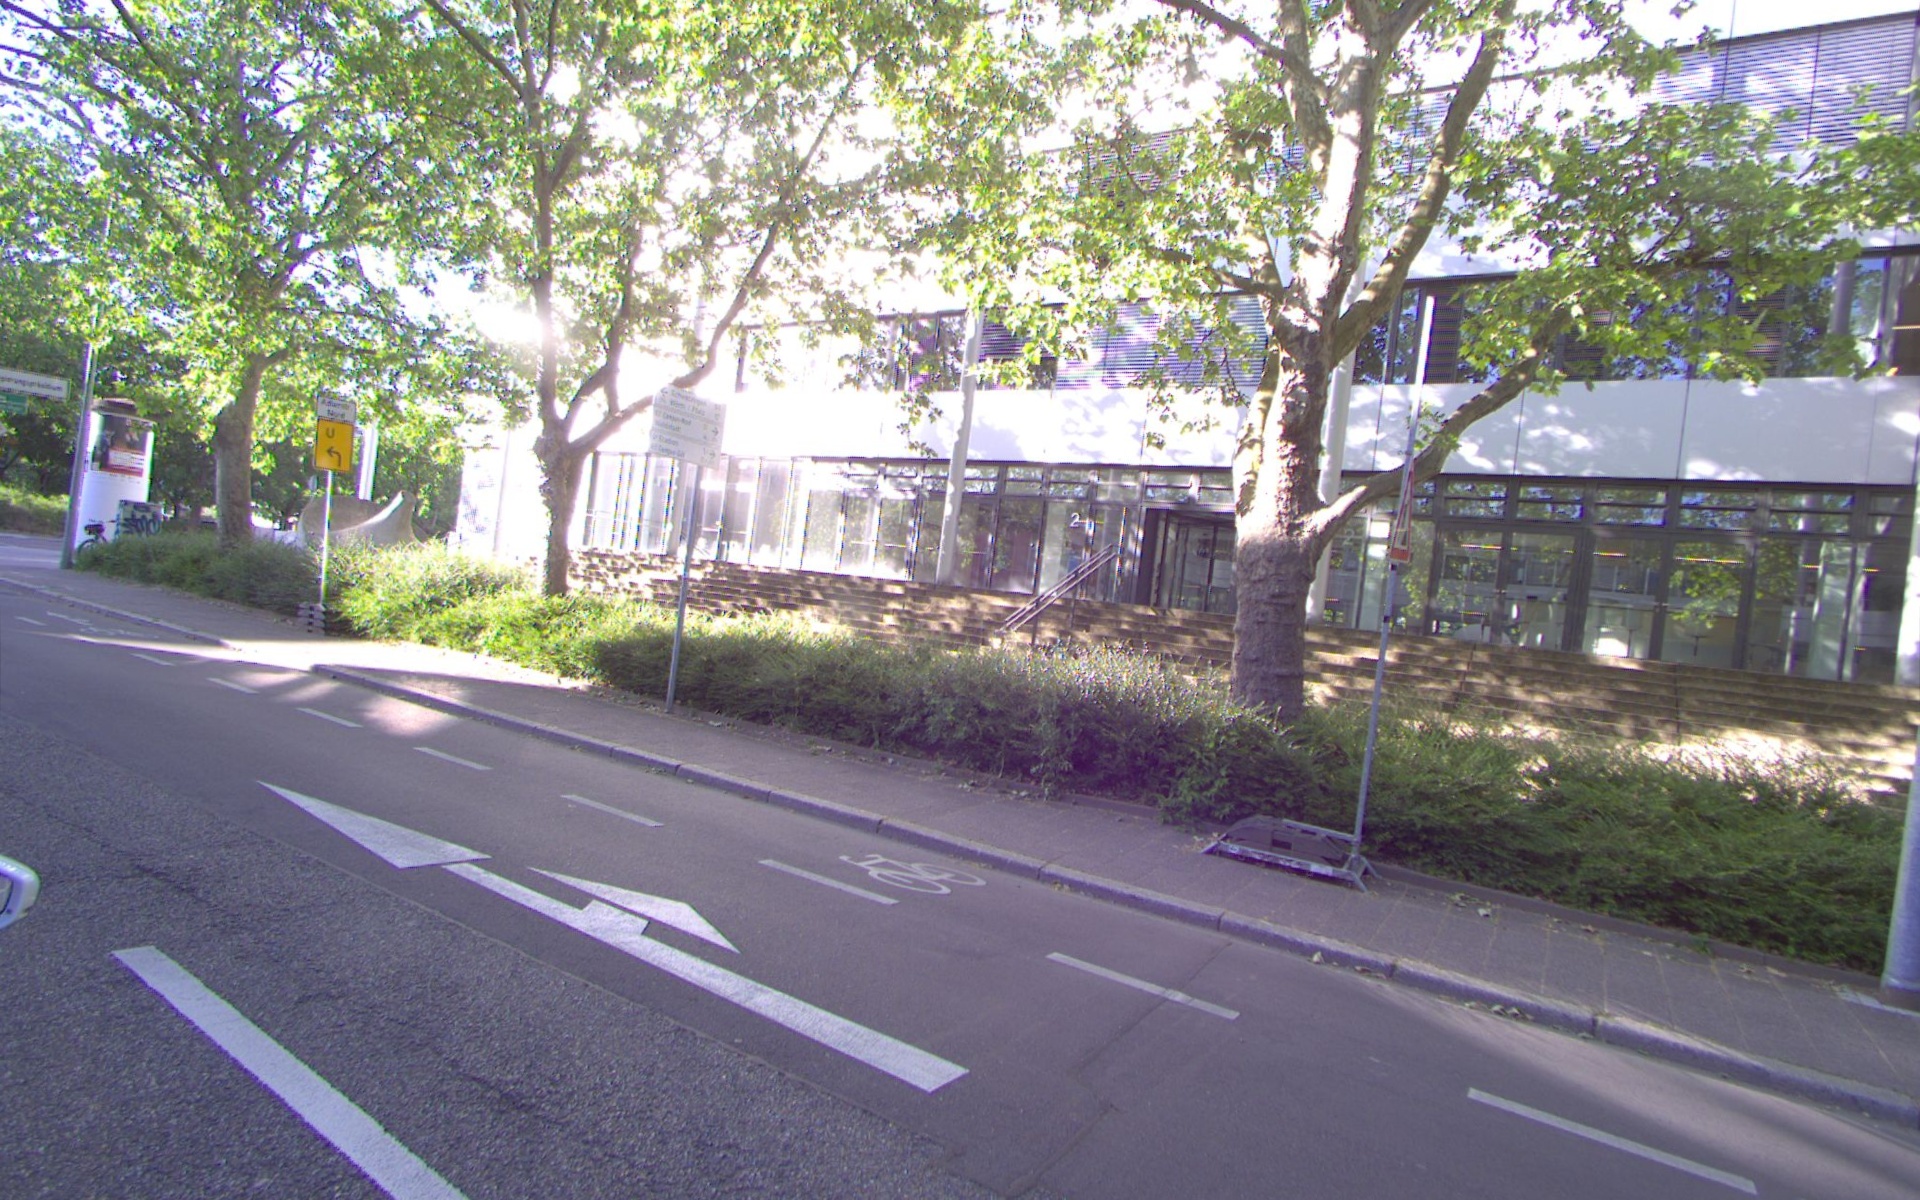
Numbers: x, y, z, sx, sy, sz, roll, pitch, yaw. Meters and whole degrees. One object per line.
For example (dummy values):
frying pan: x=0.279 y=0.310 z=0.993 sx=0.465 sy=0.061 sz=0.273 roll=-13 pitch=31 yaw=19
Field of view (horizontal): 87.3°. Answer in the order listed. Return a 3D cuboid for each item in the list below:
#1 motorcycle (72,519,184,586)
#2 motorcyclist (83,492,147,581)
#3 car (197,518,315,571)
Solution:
motorcycle: x=-19.220 y=-1.092 z=23.283 sx=0.712 sy=1.257 sz=1.782 roll=6 pitch=-2 yaw=37
motorcyclist: x=-19.347 y=-1.446 z=23.035 sx=0.662 sy=1.885 sz=0.823 roll=6 pitch=-1 yaw=37
car: x=-32.693 y=-2.563 z=46.824 sx=1.708 sy=1.792 sz=3.995 roll=7 pitch=-1 yaw=30
